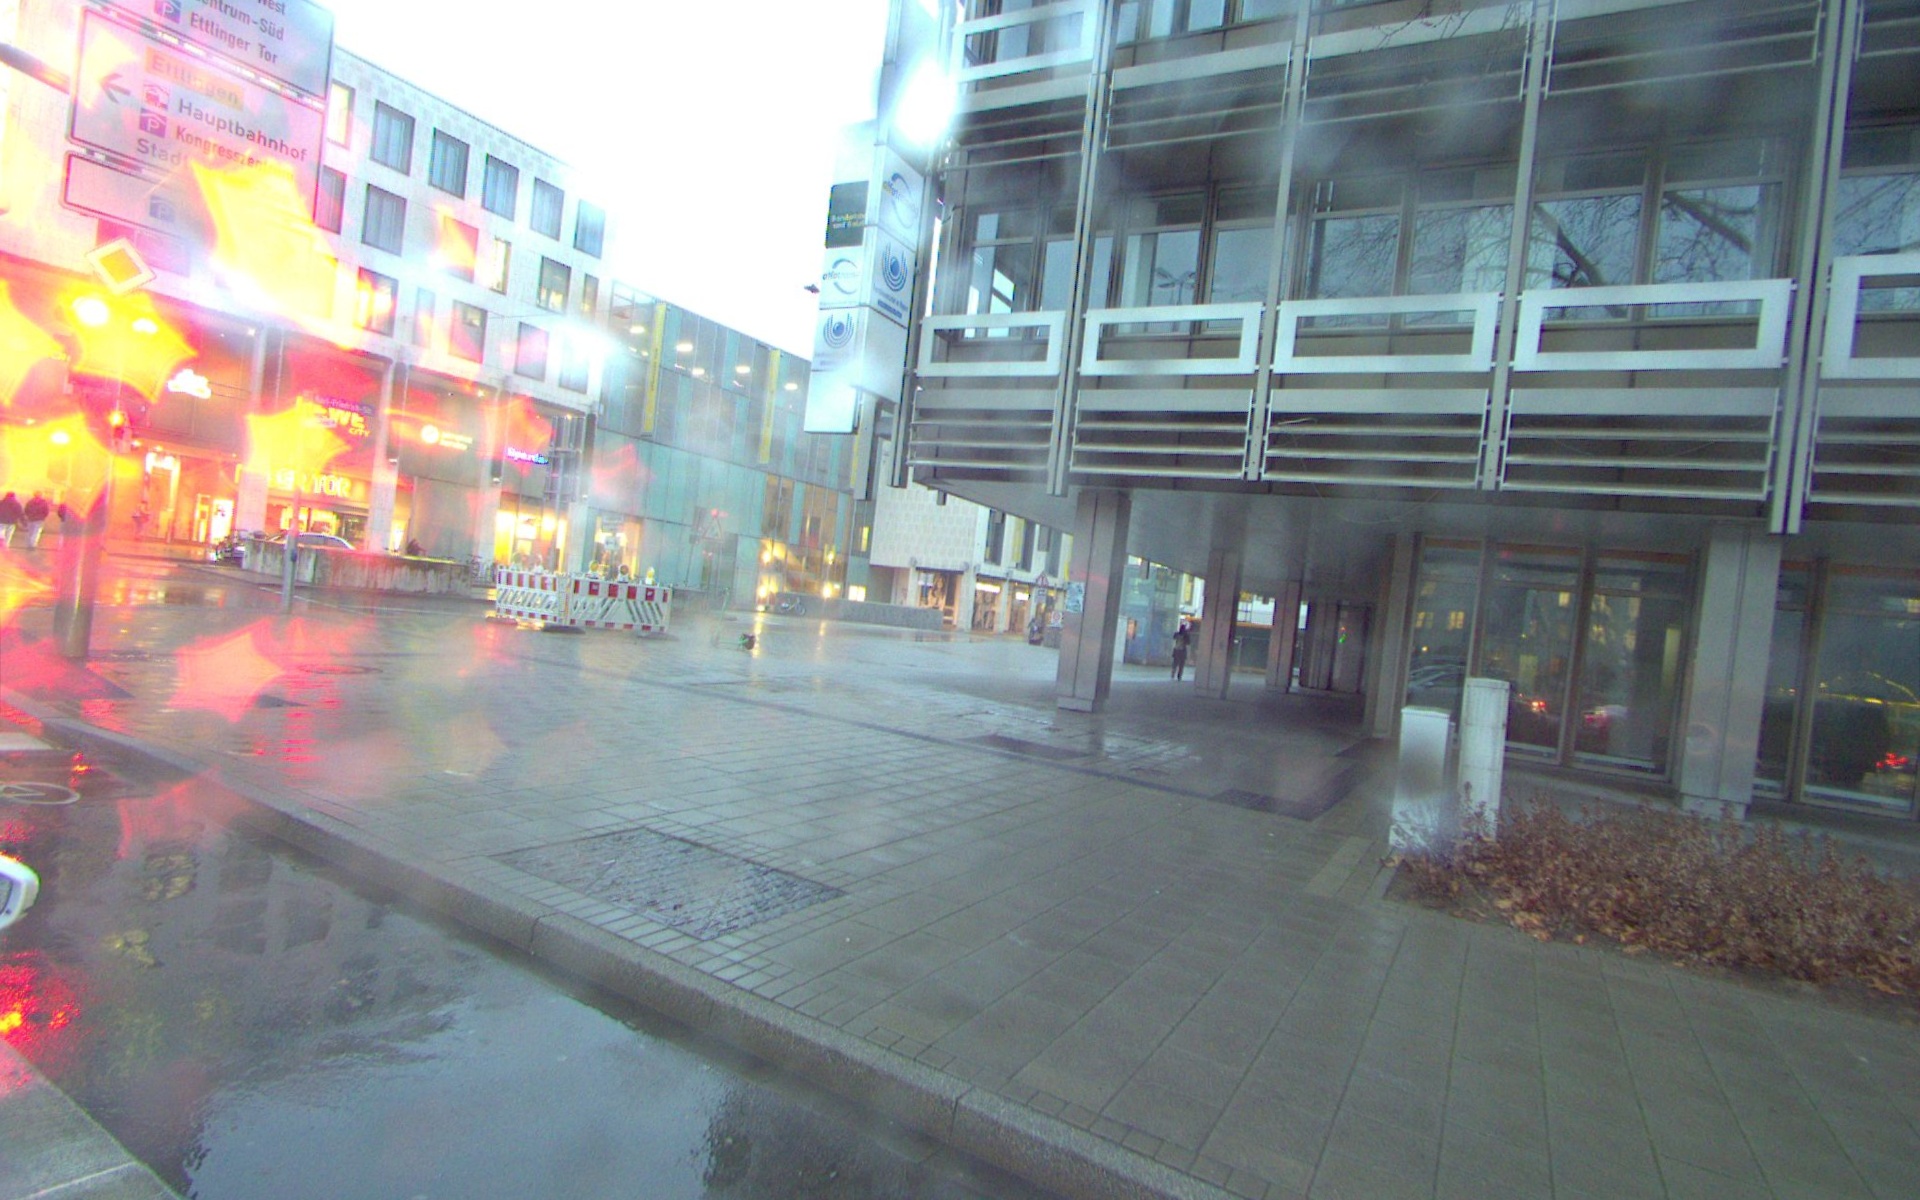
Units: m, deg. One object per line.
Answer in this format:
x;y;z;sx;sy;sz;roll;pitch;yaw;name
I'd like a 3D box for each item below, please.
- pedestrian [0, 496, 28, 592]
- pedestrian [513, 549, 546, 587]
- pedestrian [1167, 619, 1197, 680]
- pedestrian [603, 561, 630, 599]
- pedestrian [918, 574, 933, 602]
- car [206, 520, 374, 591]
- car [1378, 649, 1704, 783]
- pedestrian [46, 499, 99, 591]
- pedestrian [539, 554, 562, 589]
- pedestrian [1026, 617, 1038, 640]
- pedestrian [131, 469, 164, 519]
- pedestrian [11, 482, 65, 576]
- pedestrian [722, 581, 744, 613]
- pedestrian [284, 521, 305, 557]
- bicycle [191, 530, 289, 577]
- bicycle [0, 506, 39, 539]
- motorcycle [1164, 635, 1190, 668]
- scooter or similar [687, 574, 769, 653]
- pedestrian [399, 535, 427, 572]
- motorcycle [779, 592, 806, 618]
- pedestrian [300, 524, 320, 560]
-25.469;-1.511;26.655;0.745;2.469;0.716;7;-1;31;pedestrian
-21.135;-1.572;49.427;0.810;1.703;1.032;6;-1;31;pedestrian
6.861;1.531;31.061;0.678;1.796;0.660;7;-1;16;pedestrian
-16.461;-0.944;48.180;0.770;1.703;0.742;6;-1;38;pedestrian
-2.191;-0.774;64.129;0.573;1.703;0.542;6;-1;38;pedestrian
-21.696;-1.400;32.718;1.968;1.636;3.994;6;-2;33;car
8.683;1.650;15.268;3.935;1.327;1.994;6;1;33;car
-25.075;-1.558;28.421;0.778;2.477;0.694;7;-1;32;pedestrian
-21.899;-1.540;53.814;0.786;1.760;0.767;6;1;-43;pedestrian
5.605;2.241;78.159;0.573;1.703;0.542;6;-1;38;pedestrian
-35.320;-4.606;43.718;0.688;2.039;0.845;7;1;40;pedestrian
-25.508;-1.961;27.844;0.745;2.469;0.691;7;-1;31;pedestrian
-13.074;-0.166;57.947;0.770;1.703;0.742;6;-1;38;pedestrian
-34.222;-3.137;51.716;0.729;1.740;0.733;6;1;-31;pedestrian
-26.346;-1.687;36.881;0.941;1.375;2.718;6;-1;28;bicycle
-36.483;-2.998;38.489;0.515;1.082;1.651;7;-2;28;bicycle
9.759;2.332;45.292;0.584;1.368;1.493;7;-1;29;motorcycle
-4.672;0.268;20.231;1.470;1.368;0.593;7;-1;32;scooter or similar
-26.513;-2.250;48.772;0.519;1.705;0.894;6;0;31;pedestrian
-10.177;0.284;61.143;0.585;1.368;1.491;7;-1;36;motorcycle
-32.361;-2.871;50.075;0.360;1.706;0.616;7;1;28;pedestrian
